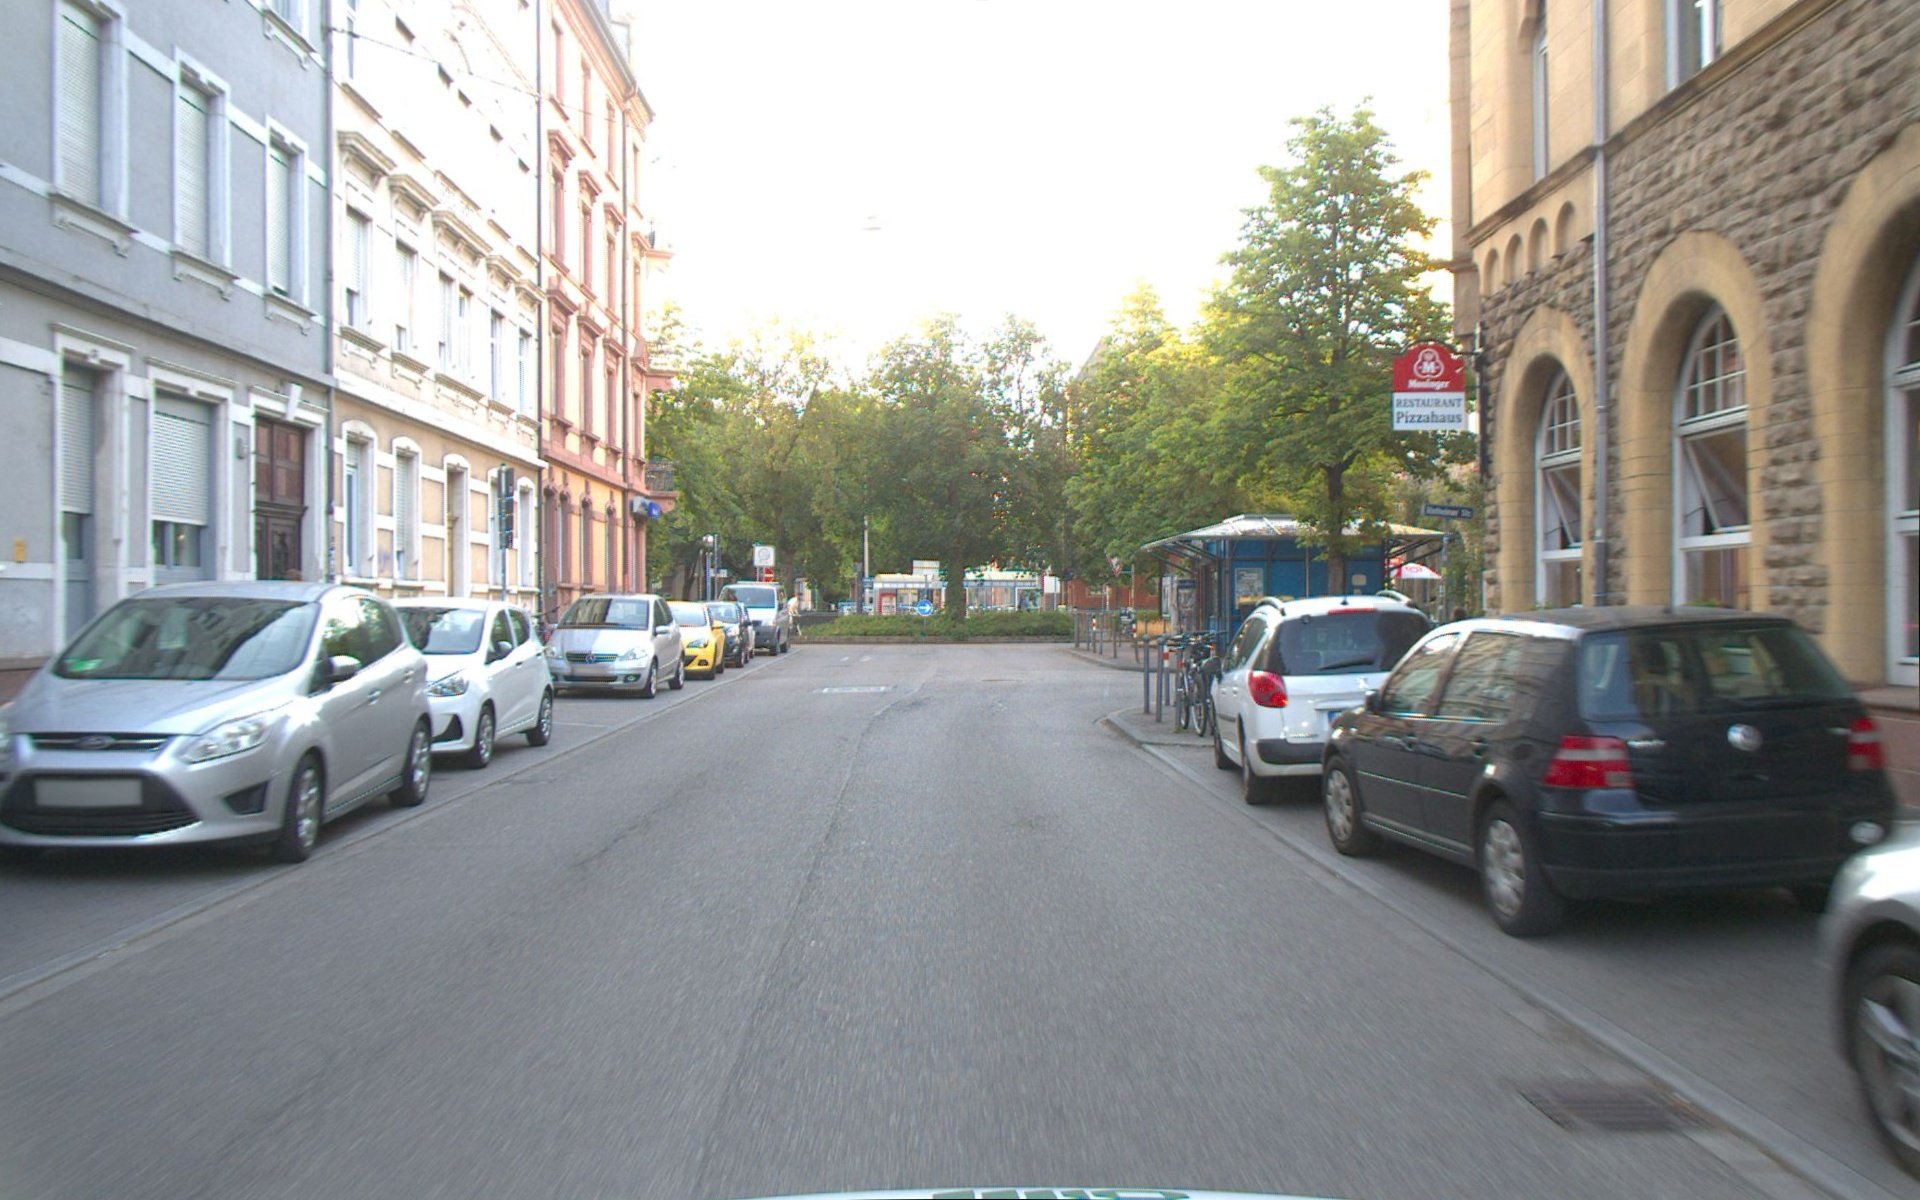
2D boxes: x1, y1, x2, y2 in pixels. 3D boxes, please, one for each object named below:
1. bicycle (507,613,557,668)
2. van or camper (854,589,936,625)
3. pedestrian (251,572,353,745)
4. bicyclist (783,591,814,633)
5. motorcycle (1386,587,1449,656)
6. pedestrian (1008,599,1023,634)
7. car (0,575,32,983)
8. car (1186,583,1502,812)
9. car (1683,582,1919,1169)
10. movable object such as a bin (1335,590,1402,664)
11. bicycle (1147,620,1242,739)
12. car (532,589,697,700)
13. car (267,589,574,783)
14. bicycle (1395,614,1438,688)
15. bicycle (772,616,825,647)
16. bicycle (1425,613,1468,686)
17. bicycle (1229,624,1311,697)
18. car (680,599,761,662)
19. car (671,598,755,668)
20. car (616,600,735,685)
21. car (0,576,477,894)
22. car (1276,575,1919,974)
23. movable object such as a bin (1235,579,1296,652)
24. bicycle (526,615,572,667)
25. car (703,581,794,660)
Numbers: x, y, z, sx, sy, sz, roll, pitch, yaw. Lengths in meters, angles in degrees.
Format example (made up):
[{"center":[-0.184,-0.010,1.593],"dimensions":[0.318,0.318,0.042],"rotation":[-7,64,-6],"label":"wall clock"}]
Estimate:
[{"center":[-8.862,0.820,34.327],"dimensions":[0.648,1.089,1.833],"rotation":[-1,0,-4],"label":"bicycle"},{"center":[-5.926,0.640,149.535],"dimensions":[7.223,3.137,2.670],"rotation":[1,-1,-6],"label":"van or camper"},{"center":[-7.738,0.673,19.475],"dimensions":[0.832,1.983,0.834],"rotation":[-1,0,2],"label":"pedestrian"},{"center":[-5.938,0.448,60.836],"dimensions":[0.896,1.529,0.709],"rotation":[-1,0,14],"label":"bicyclist"},{"center":[10.214,0.470,36.997],"dimensions":[0.849,1.479,1.882],"rotation":[-1,0,0],"label":"motorcycle"},{"center":[2.331,0.708,69.791],"dimensions":[0.603,1.456,0.655],"rotation":[-1,0,0],"label":"pedestrian"},{"center":[-4.601,0.687,4.666],"dimensions":[1.717,1.620,4.056],"rotation":[1,0,-2],"label":"car"},{"center":[3.003,0.674,13.872],"dimensions":[1.727,1.510,4.465],"rotation":[-3,0,3],"label":"car"},{"center":[3.381,0.691,3.257],"dimensions":[1.728,1.510,4.555],"rotation":[-2,0,-2],"label":"car"},{"center":[8.866,0.576,35.942],"dimensions":[1.254,1.501,0.820],"rotation":[3,0,7],"label":"movable object such as a bin"},{"center":[2.571,0.839,18.353],"dimensions":[0.670,1.171,2.115],"rotation":[-4,0,-1],"label":"bicycle"},{"center":[-5.486,0.665,26.786],"dimensions":[1.763,1.620,4.145],"rotation":[1,0,0],"label":"car"},{"center":[-5.043,0.735,16.033],"dimensions":[1.717,1.603,3.926],"rotation":[1,0,-1],"label":"car"},{"center":[7.064,0.770,25.644],"dimensions":[0.501,1.085,1.836],"rotation":[-1,0,11],"label":"bicycle"},{"center":[-5.944,1.155,60.829],"dimensions":[1.789,1.089,0.709],"rotation":[-1,0,15],"label":"bicycle"},{"center":[7.592,0.754,25.857],"dimensions":[0.464,1.089,1.836],"rotation":[-1,0,11],"label":"bicycle"},{"center":[4.711,0.904,25.066],"dimensions":[1.463,1.058,0.425],"rotation":[0,-1,-43],"label":"bicycle"},{"center":[-6.130,0.755,42.642],"dimensions":[1.650,1.517,3.612],"rotation":[1,0,-2],"label":"car"},{"center":[-5.738,0.740,38.680],"dimensions":[1.695,1.517,3.738],"rotation":[1,0,-5],"label":"car"},{"center":[-5.630,0.798,33.232],"dimensions":[1.802,1.552,4.798],"rotation":[1,0,-4],"label":"car"},{"center":[-4.638,0.698,10.884],"dimensions":[1.796,1.620,4.669],"rotation":[1,0,-4],"label":"car"},{"center":[3.224,0.705,9.011],"dimensions":[1.729,1.510,4.552],"rotation":[-3,0,-5],"label":"car"},{"center":[6.630,0.338,35.948],"dimensions":[1.196,1.501,0.766],"rotation":[-4,0,7],"label":"movable object such as a bin"},{"center":[-8.959,0.873,36.090],"dimensions":[0.648,1.089,1.833],"rotation":[-1,0,-4],"label":"bicycle"},{"center":[-6.010,0.570,47.463],"dimensions":[1.999,2.093,5.003],"rotation":[1,0,-1],"label":"car"}]
